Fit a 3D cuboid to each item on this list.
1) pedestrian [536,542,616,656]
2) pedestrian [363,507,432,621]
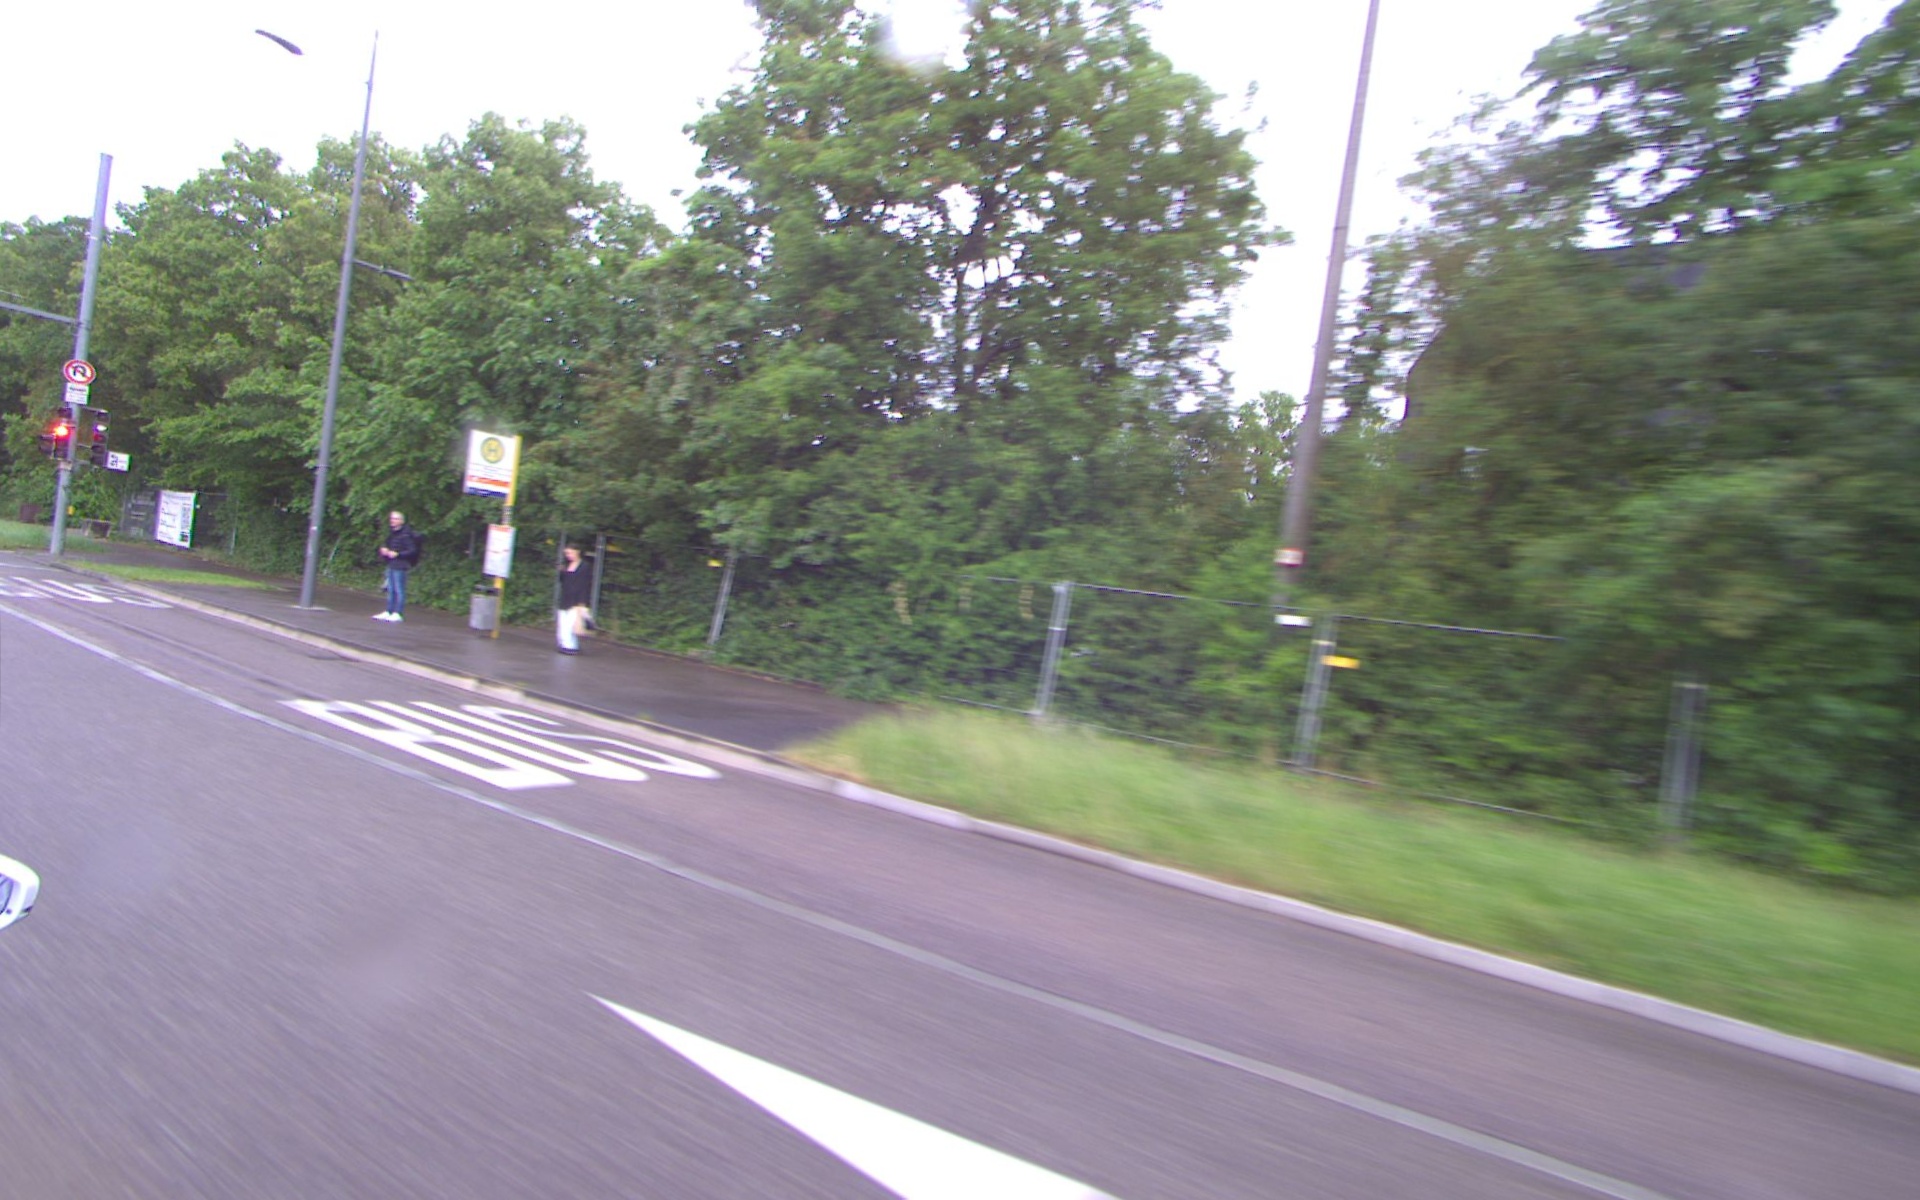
[{"bbox_3d":[-6.053,-0.011,15.863,0.779,1.679,0.676,7,1,30],"label":"pedestrian"},{"bbox_3d":[-10.031,-0.635,17.943,0.706,1.925,0.641,7,1,30],"label":"pedestrian"}]
